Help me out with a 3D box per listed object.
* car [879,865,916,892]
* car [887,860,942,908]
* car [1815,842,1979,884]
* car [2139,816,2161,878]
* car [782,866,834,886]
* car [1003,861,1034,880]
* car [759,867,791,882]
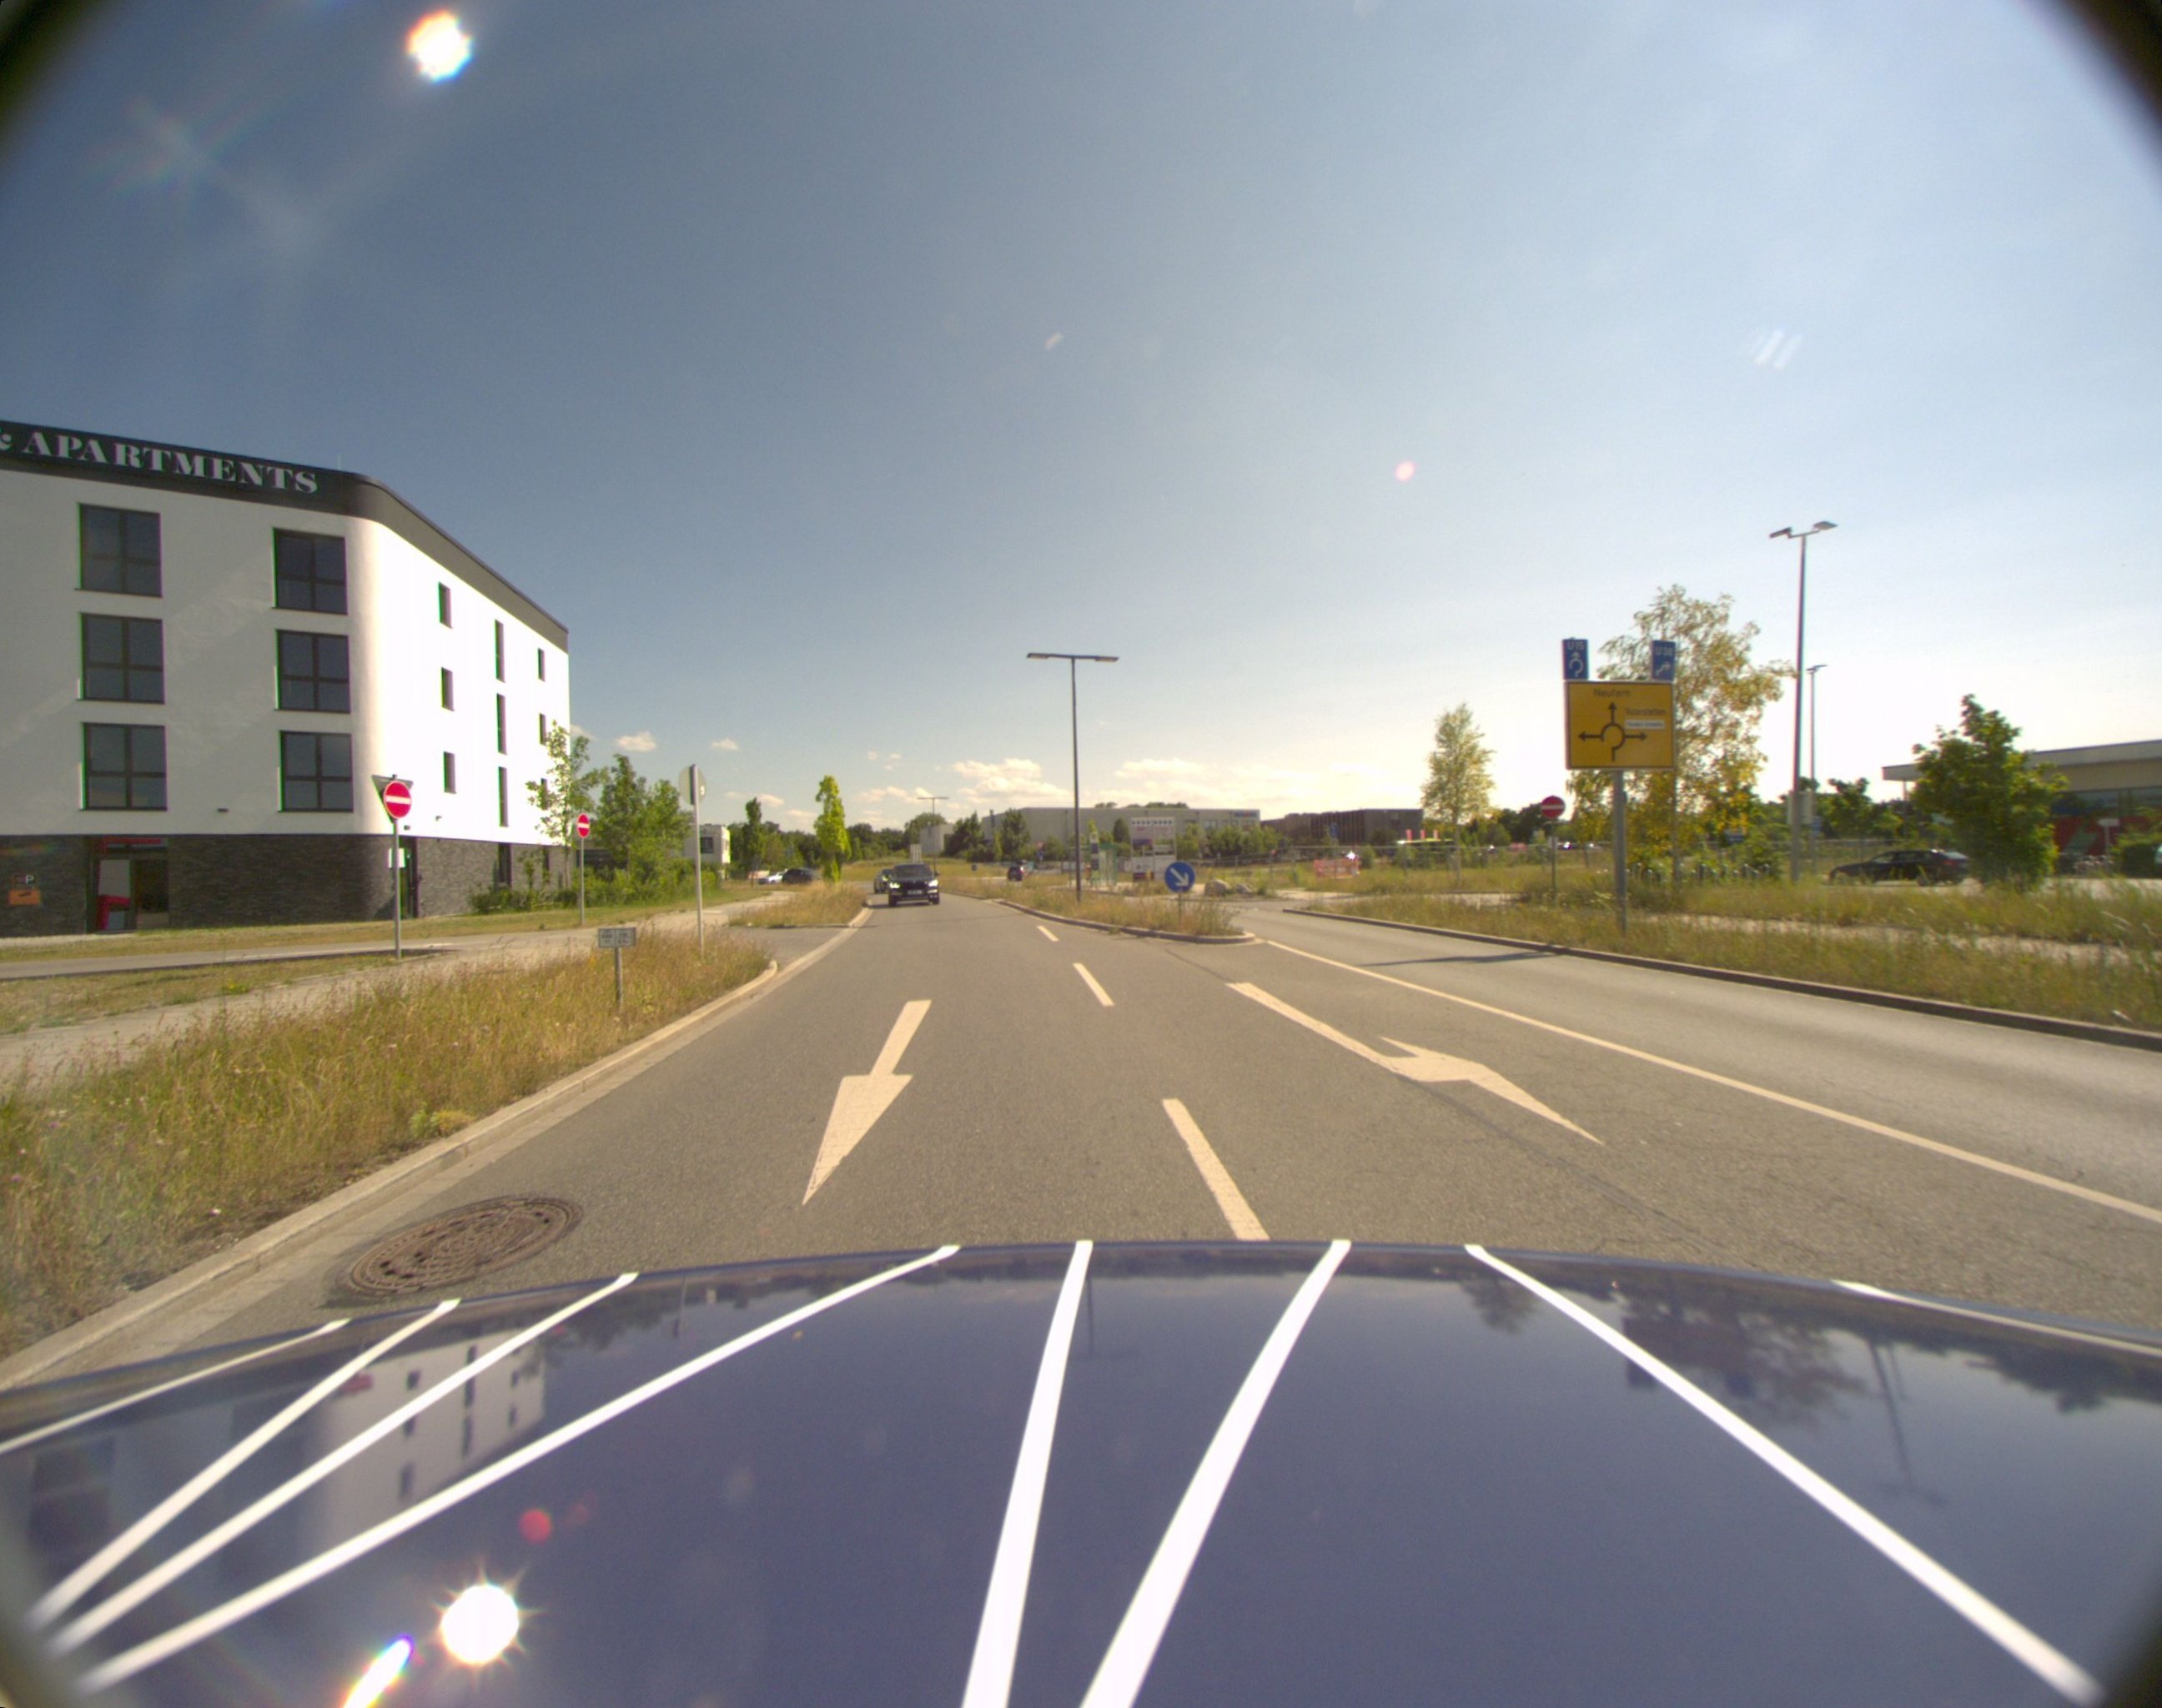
[{"bbox_3d":[-12.409,1.650,51.157,2.117,1.633,4.771,-2,-1,-17],"label":"car"},{"bbox_3d":[-6.522,1.144,29.859,1.902,1.669,4.463,-2,-1,-12],"label":"car"},{"bbox_3d":[35.973,0.371,33.659,2.285,1.678,4.412,-2,0,-21],"label":"car"},{"bbox_3d":[47.805,-0.341,32.098,5.723,2.573,1.937,-1,0,-18],"label":"car"},{"bbox_3d":[-23.571,1.899,65.568,4.369,1.678,1.761,-1,0,29],"label":"car"},{"bbox_3d":[-5.708,1.457,70.080,1.755,1.597,4.525,-1,0,9],"label":"car"},{"bbox_3d":[-35.347,2.314,87.782,1.998,1.517,4.000,-1,0,0],"label":"car"}]
